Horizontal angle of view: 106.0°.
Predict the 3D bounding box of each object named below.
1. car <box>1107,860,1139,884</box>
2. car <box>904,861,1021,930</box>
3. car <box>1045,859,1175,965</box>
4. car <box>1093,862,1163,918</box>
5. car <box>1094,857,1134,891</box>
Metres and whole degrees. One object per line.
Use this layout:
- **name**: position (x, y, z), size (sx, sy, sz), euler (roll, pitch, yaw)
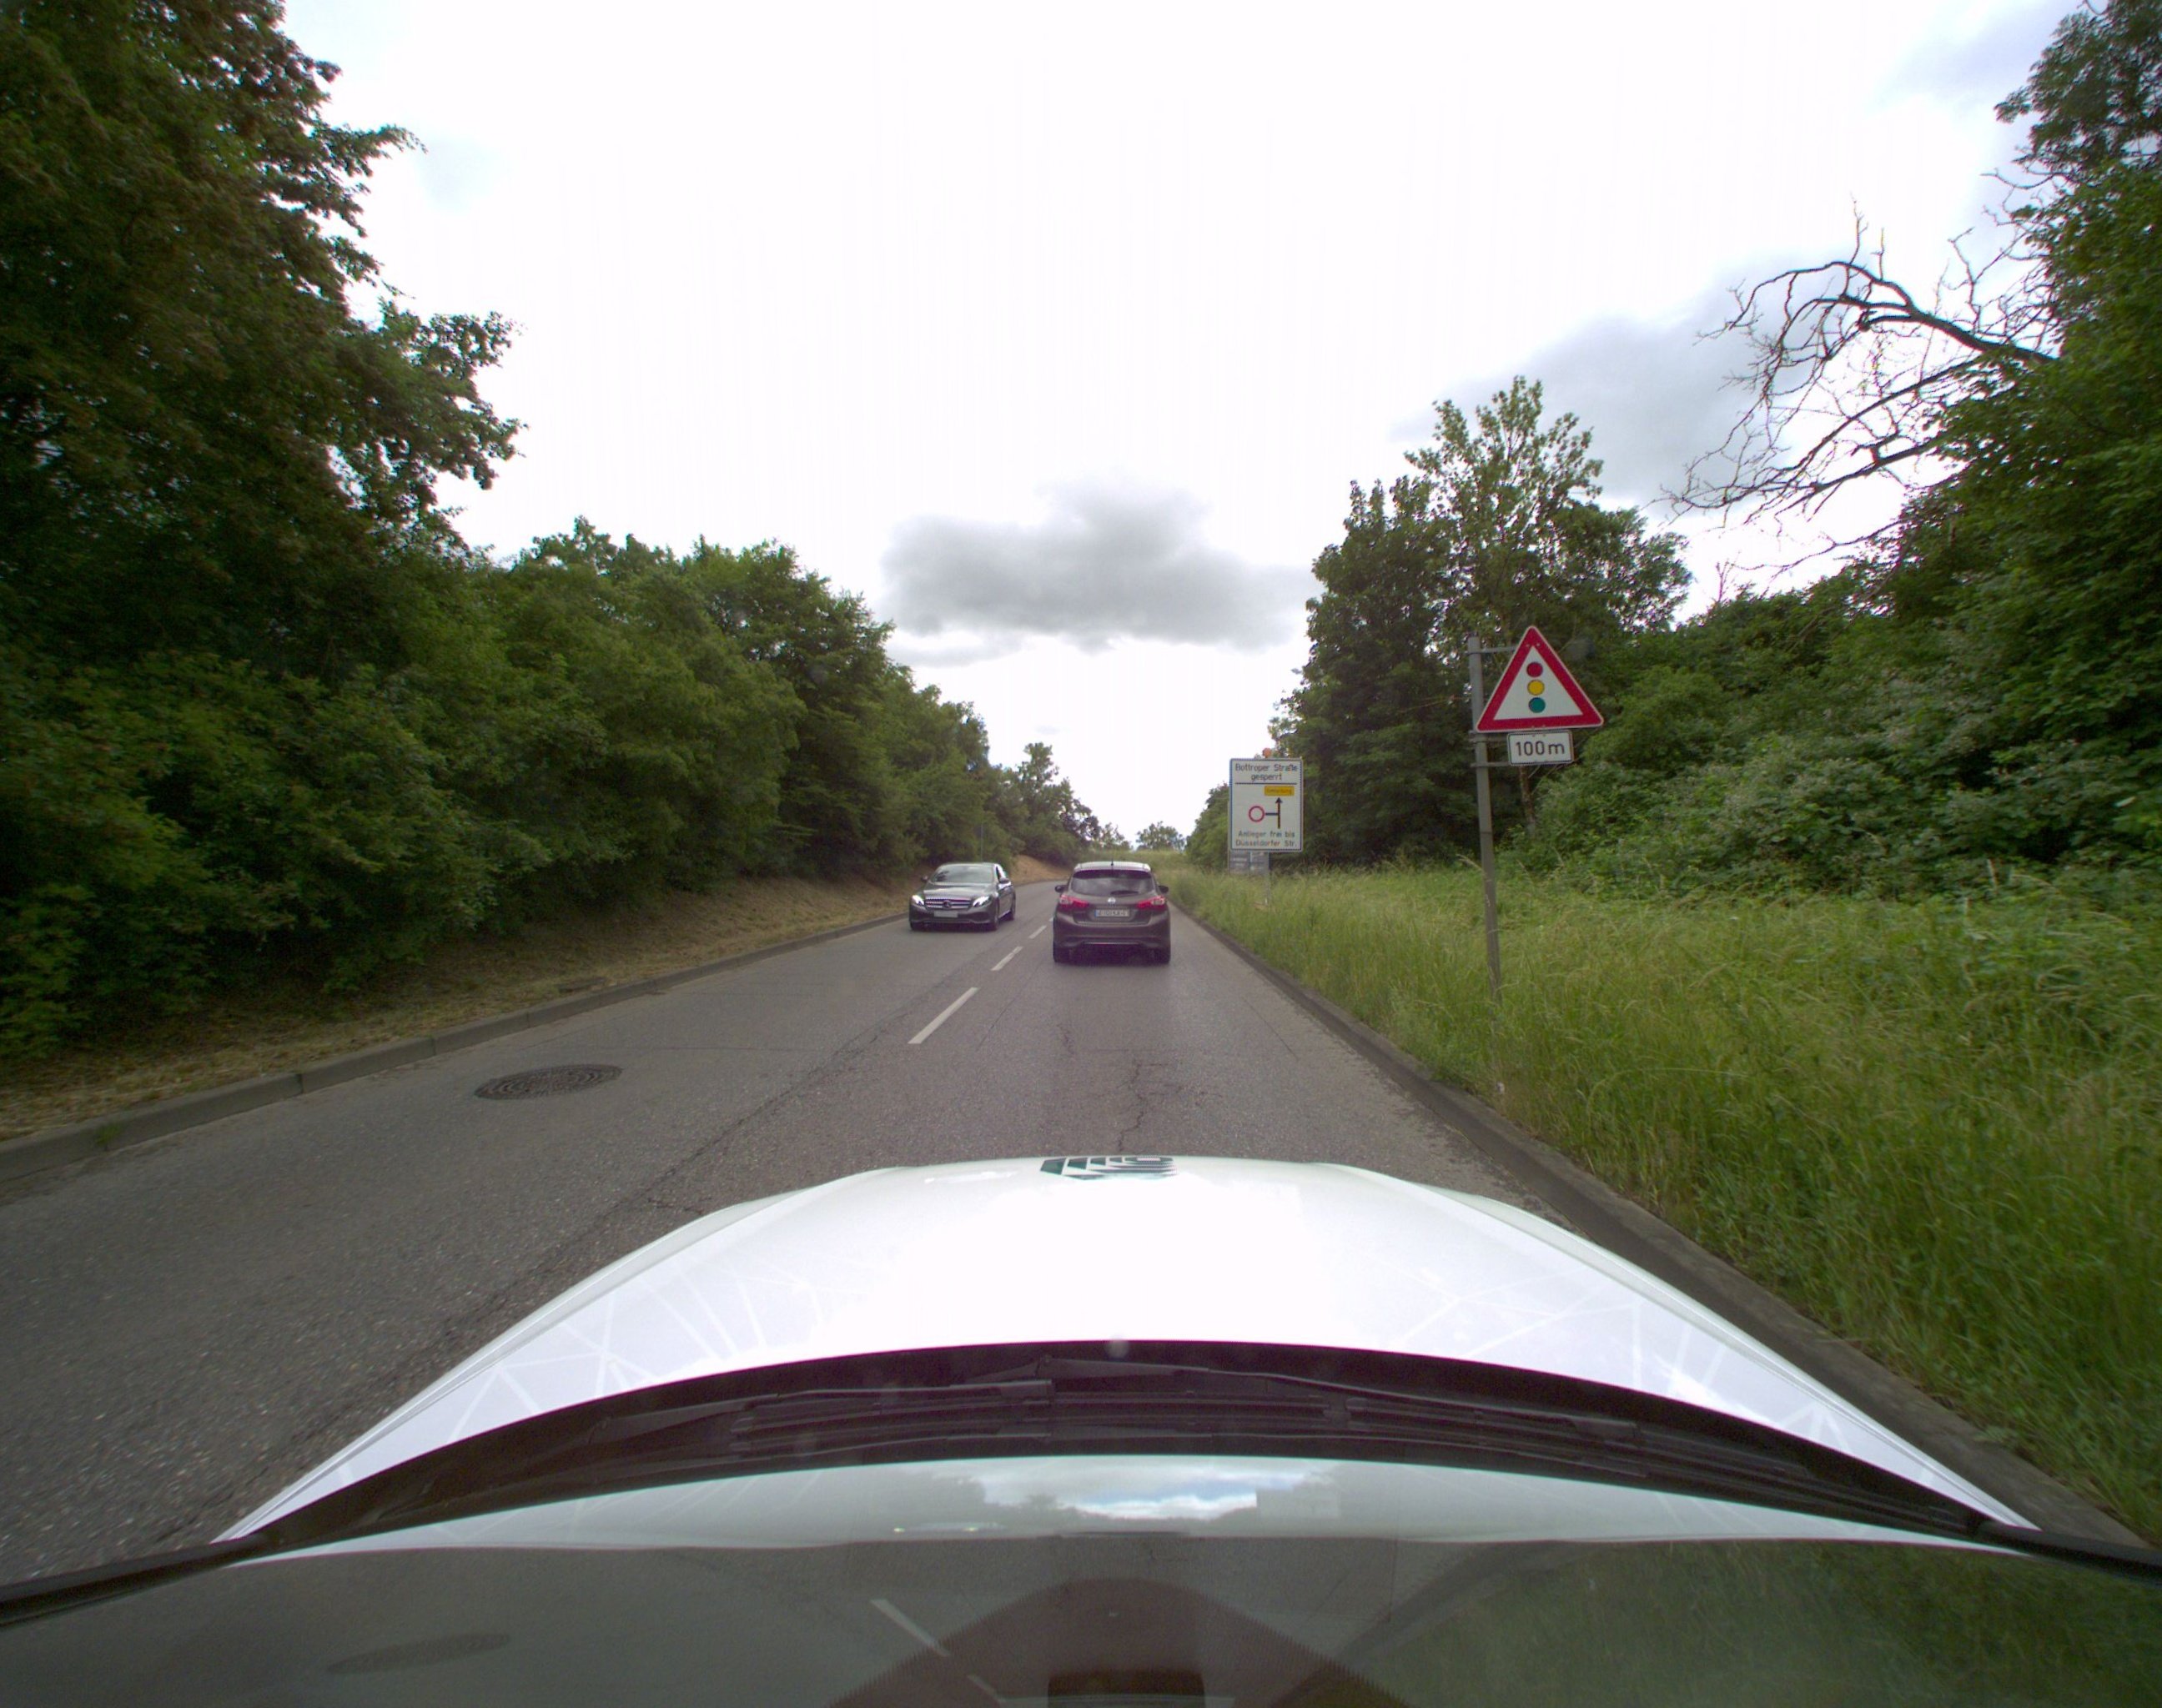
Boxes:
- **car**: position (2.664, 1.104, 50.614), size (1.789, 1.398, 4.006), euler (-1, 0, 6)
- **car**: position (-2.585, 0.866, 18.861), size (1.823, 1.405, 4.435), euler (0, 0, 3)
- **car**: position (0.406, 0.837, 13.581), size (1.839, 1.493, 3.999), euler (0, 0, 0)
- **car**: position (1.333, 1.012, 24.560), size (1.839, 1.493, 4.226), euler (-1, 0, -1)
- **car**: position (1.562, 0.902, 37.824), size (1.713, 1.494, 3.581), euler (1, 0, 4)
